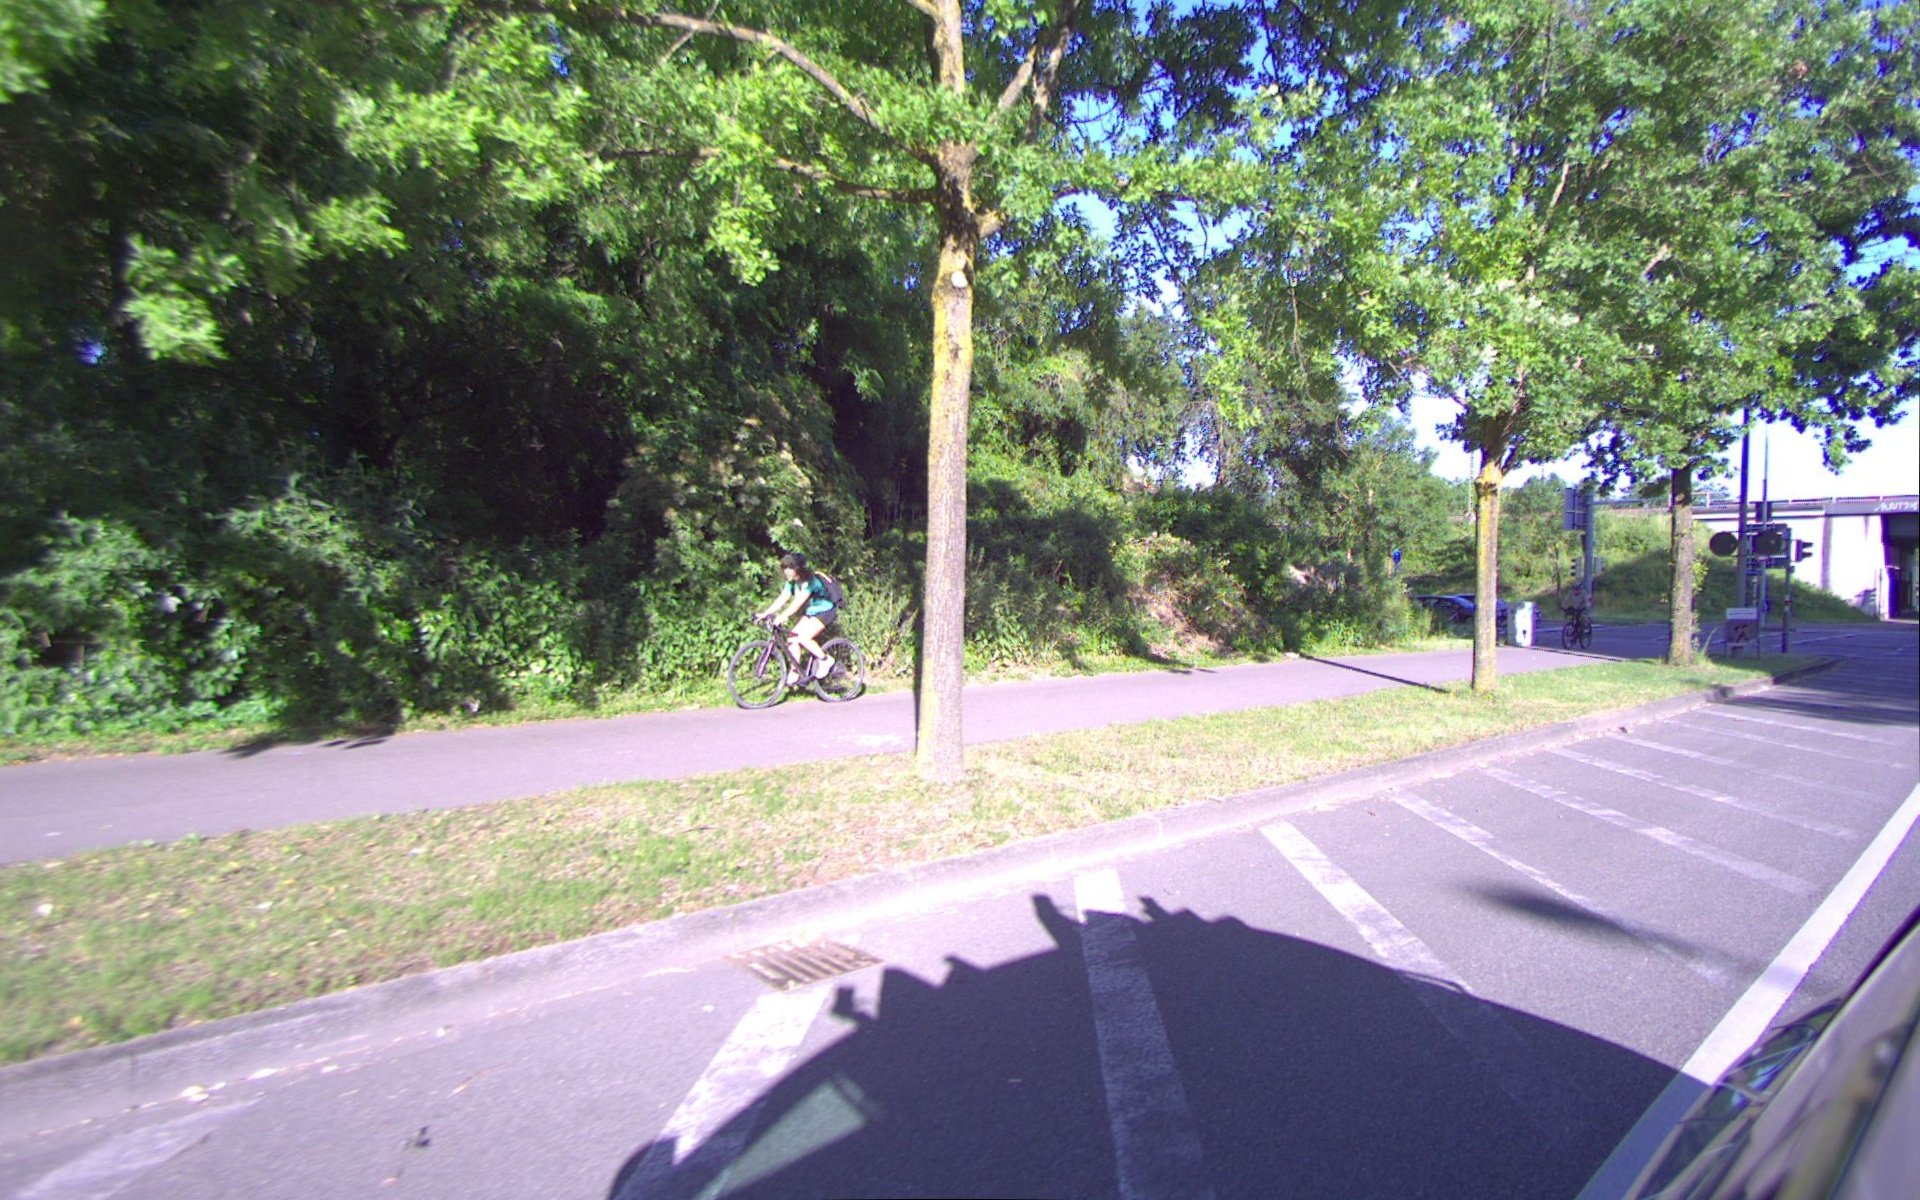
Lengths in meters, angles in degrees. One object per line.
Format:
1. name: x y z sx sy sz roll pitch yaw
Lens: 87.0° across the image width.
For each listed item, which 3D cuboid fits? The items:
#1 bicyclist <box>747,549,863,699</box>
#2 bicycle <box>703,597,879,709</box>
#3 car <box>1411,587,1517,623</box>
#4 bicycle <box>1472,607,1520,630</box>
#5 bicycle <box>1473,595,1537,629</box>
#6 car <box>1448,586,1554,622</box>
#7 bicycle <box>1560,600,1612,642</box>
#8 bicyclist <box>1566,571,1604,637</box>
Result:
1. bicyclist: -1.671 0.233 10.938 1.019 1.541 0.685 0 1 -45
2. bicycle: -1.765 0.518 10.836 1.905 1.086 0.516 0 1 -45
3. car: 23.005 0.185 46.336 1.772 1.493 3.999 -2 3 -36
4. bicycle: 17.166 0.579 32.443 0.830 0.629 2.186 3 2 14
5. bicycle: 18.622 0.391 34.615 0.445 1.066 1.999 0 1 -28
6. car: 25.266 0.133 47.385 1.782 1.493 4.000 -2 3 -35
7. bicycle: 15.861 0.524 25.629 2.011 1.004 0.572 0 1 -42
8. bicyclist: 15.756 0.093 25.511 0.850 1.630 0.566 0 1 -42
